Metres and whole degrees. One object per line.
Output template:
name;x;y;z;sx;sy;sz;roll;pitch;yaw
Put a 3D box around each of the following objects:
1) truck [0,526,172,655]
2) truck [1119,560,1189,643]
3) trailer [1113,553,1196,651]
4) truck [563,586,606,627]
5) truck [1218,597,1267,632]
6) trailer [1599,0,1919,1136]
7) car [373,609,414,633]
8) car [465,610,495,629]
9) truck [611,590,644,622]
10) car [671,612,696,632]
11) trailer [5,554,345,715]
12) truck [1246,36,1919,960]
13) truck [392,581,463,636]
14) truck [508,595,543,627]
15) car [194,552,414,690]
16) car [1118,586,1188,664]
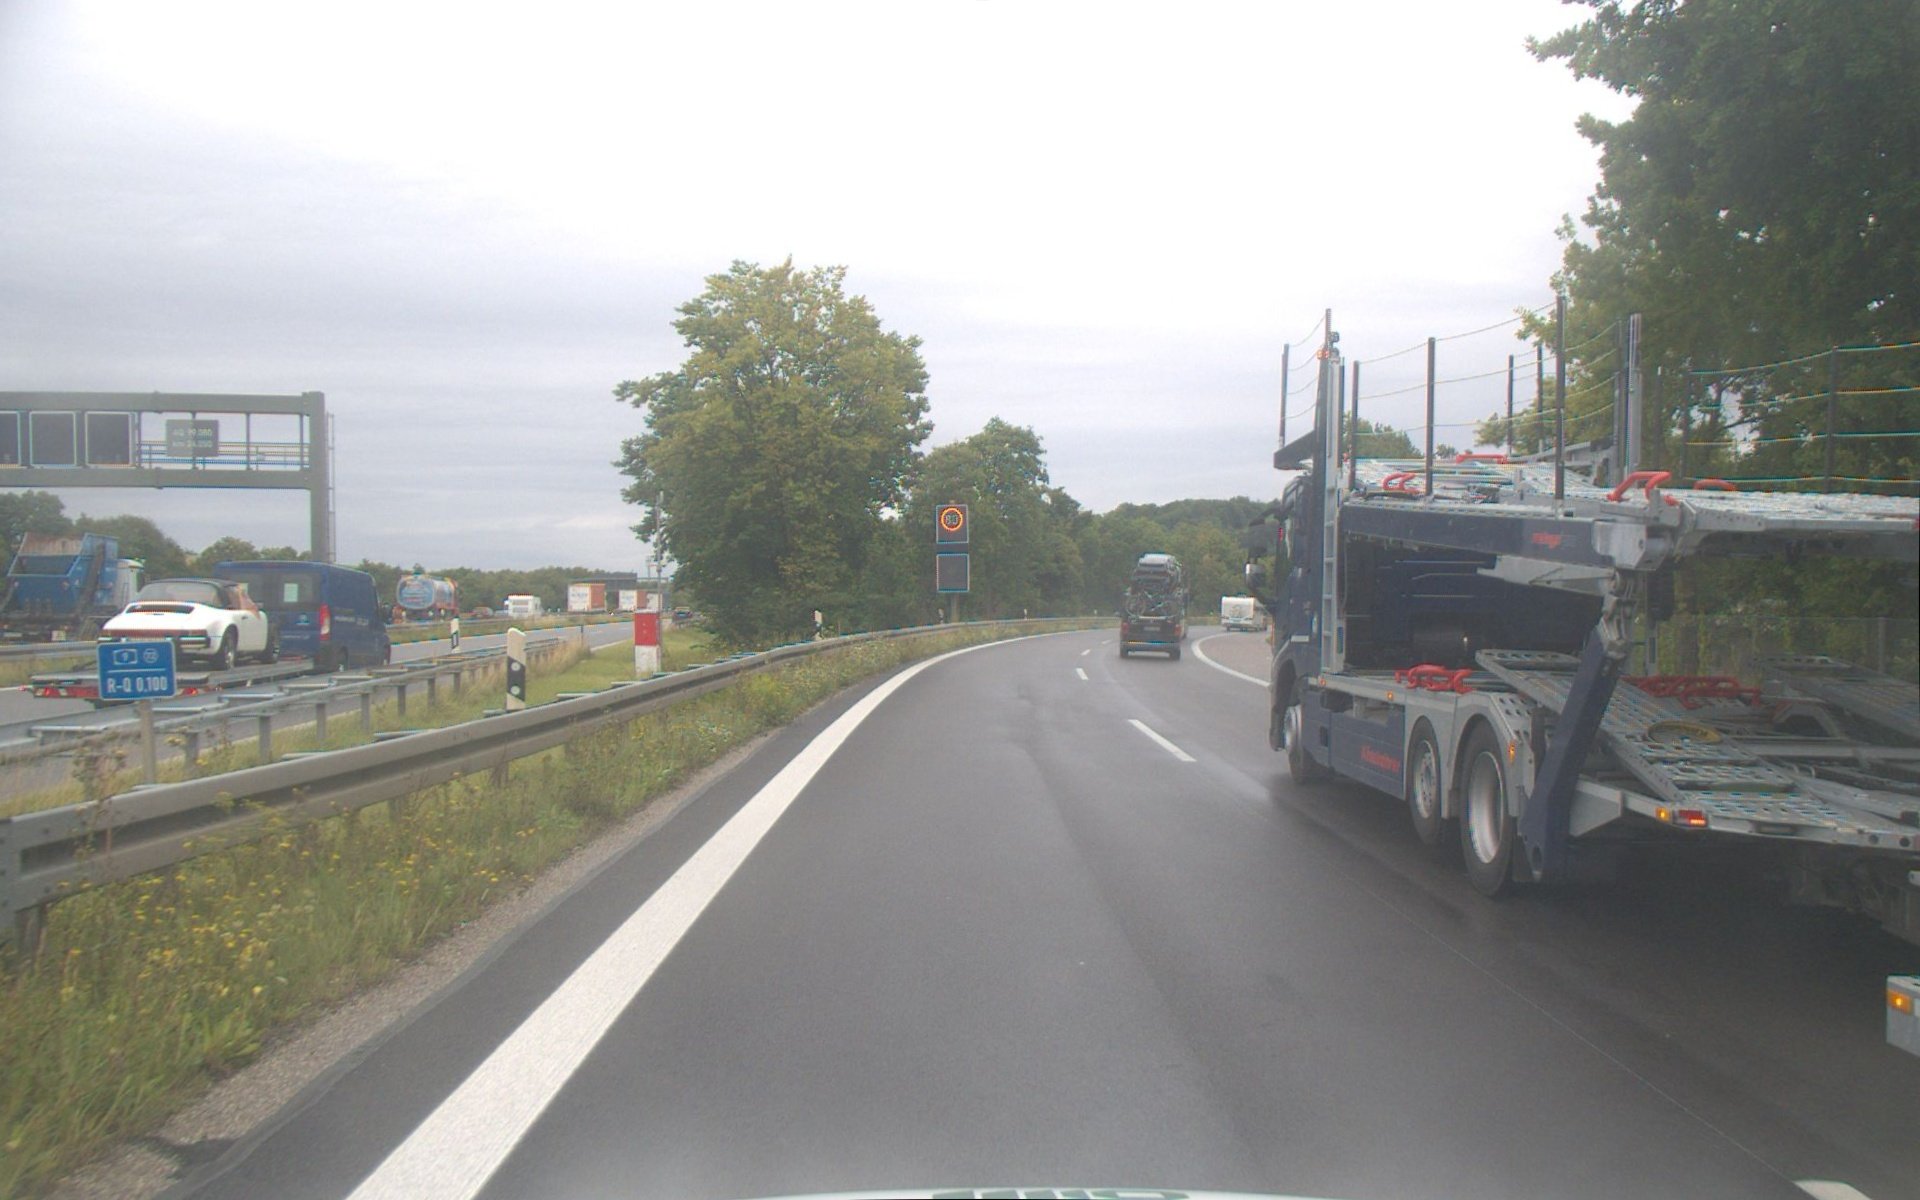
truck;-28.206;-0.225;53.657;2.588;3.879;7.329;1;-1;-8
truck;10.419;0.092;89.081;3.323;4.069;10.854;3;0;6
trailer;9.089;0.094;77.652;3.376;4.069;12.035;3;0;6
truck;-42.980;0.711;189.669;3.662;4.495;10.179;1;0;-7
truck;22.007;1.152;128.618;2.594;2.651;6.420;0;0;21
trailer;4.127;-0.140;1.867;2.721;3.342;10.405;1;0;0
car;-38.257;1.431;111.773;1.775;1.601;3.994;1;-1;-7
car;-42.194;1.714;145.497;1.849;1.601;3.994;1;-1;-7
truck;-47.947;0.903;238.603;3.662;4.495;11.878;1;0;-7
car;-24.422;1.932;146.137;1.924;1.666;5.616;1;-1;-7
trailer;-11.289;0.466;24.582;2.438;2.029;7.051;1;0;-7
truck;4.136;-0.425;11.818;2.682;4.037;9.129;1;0;1
truck;-34.523;0.564;107.521;2.802;3.424;8.617;0;0;-7
truck;-38.577;0.975;146.918;2.200;2.751;5.271;1;0;-7
car;-12.143;0.384;31.175;2.328;2.306;6.246;1;-1;-7
car;6.066;0.763;51.970;2.065;2.304;5.900;0;0;7
